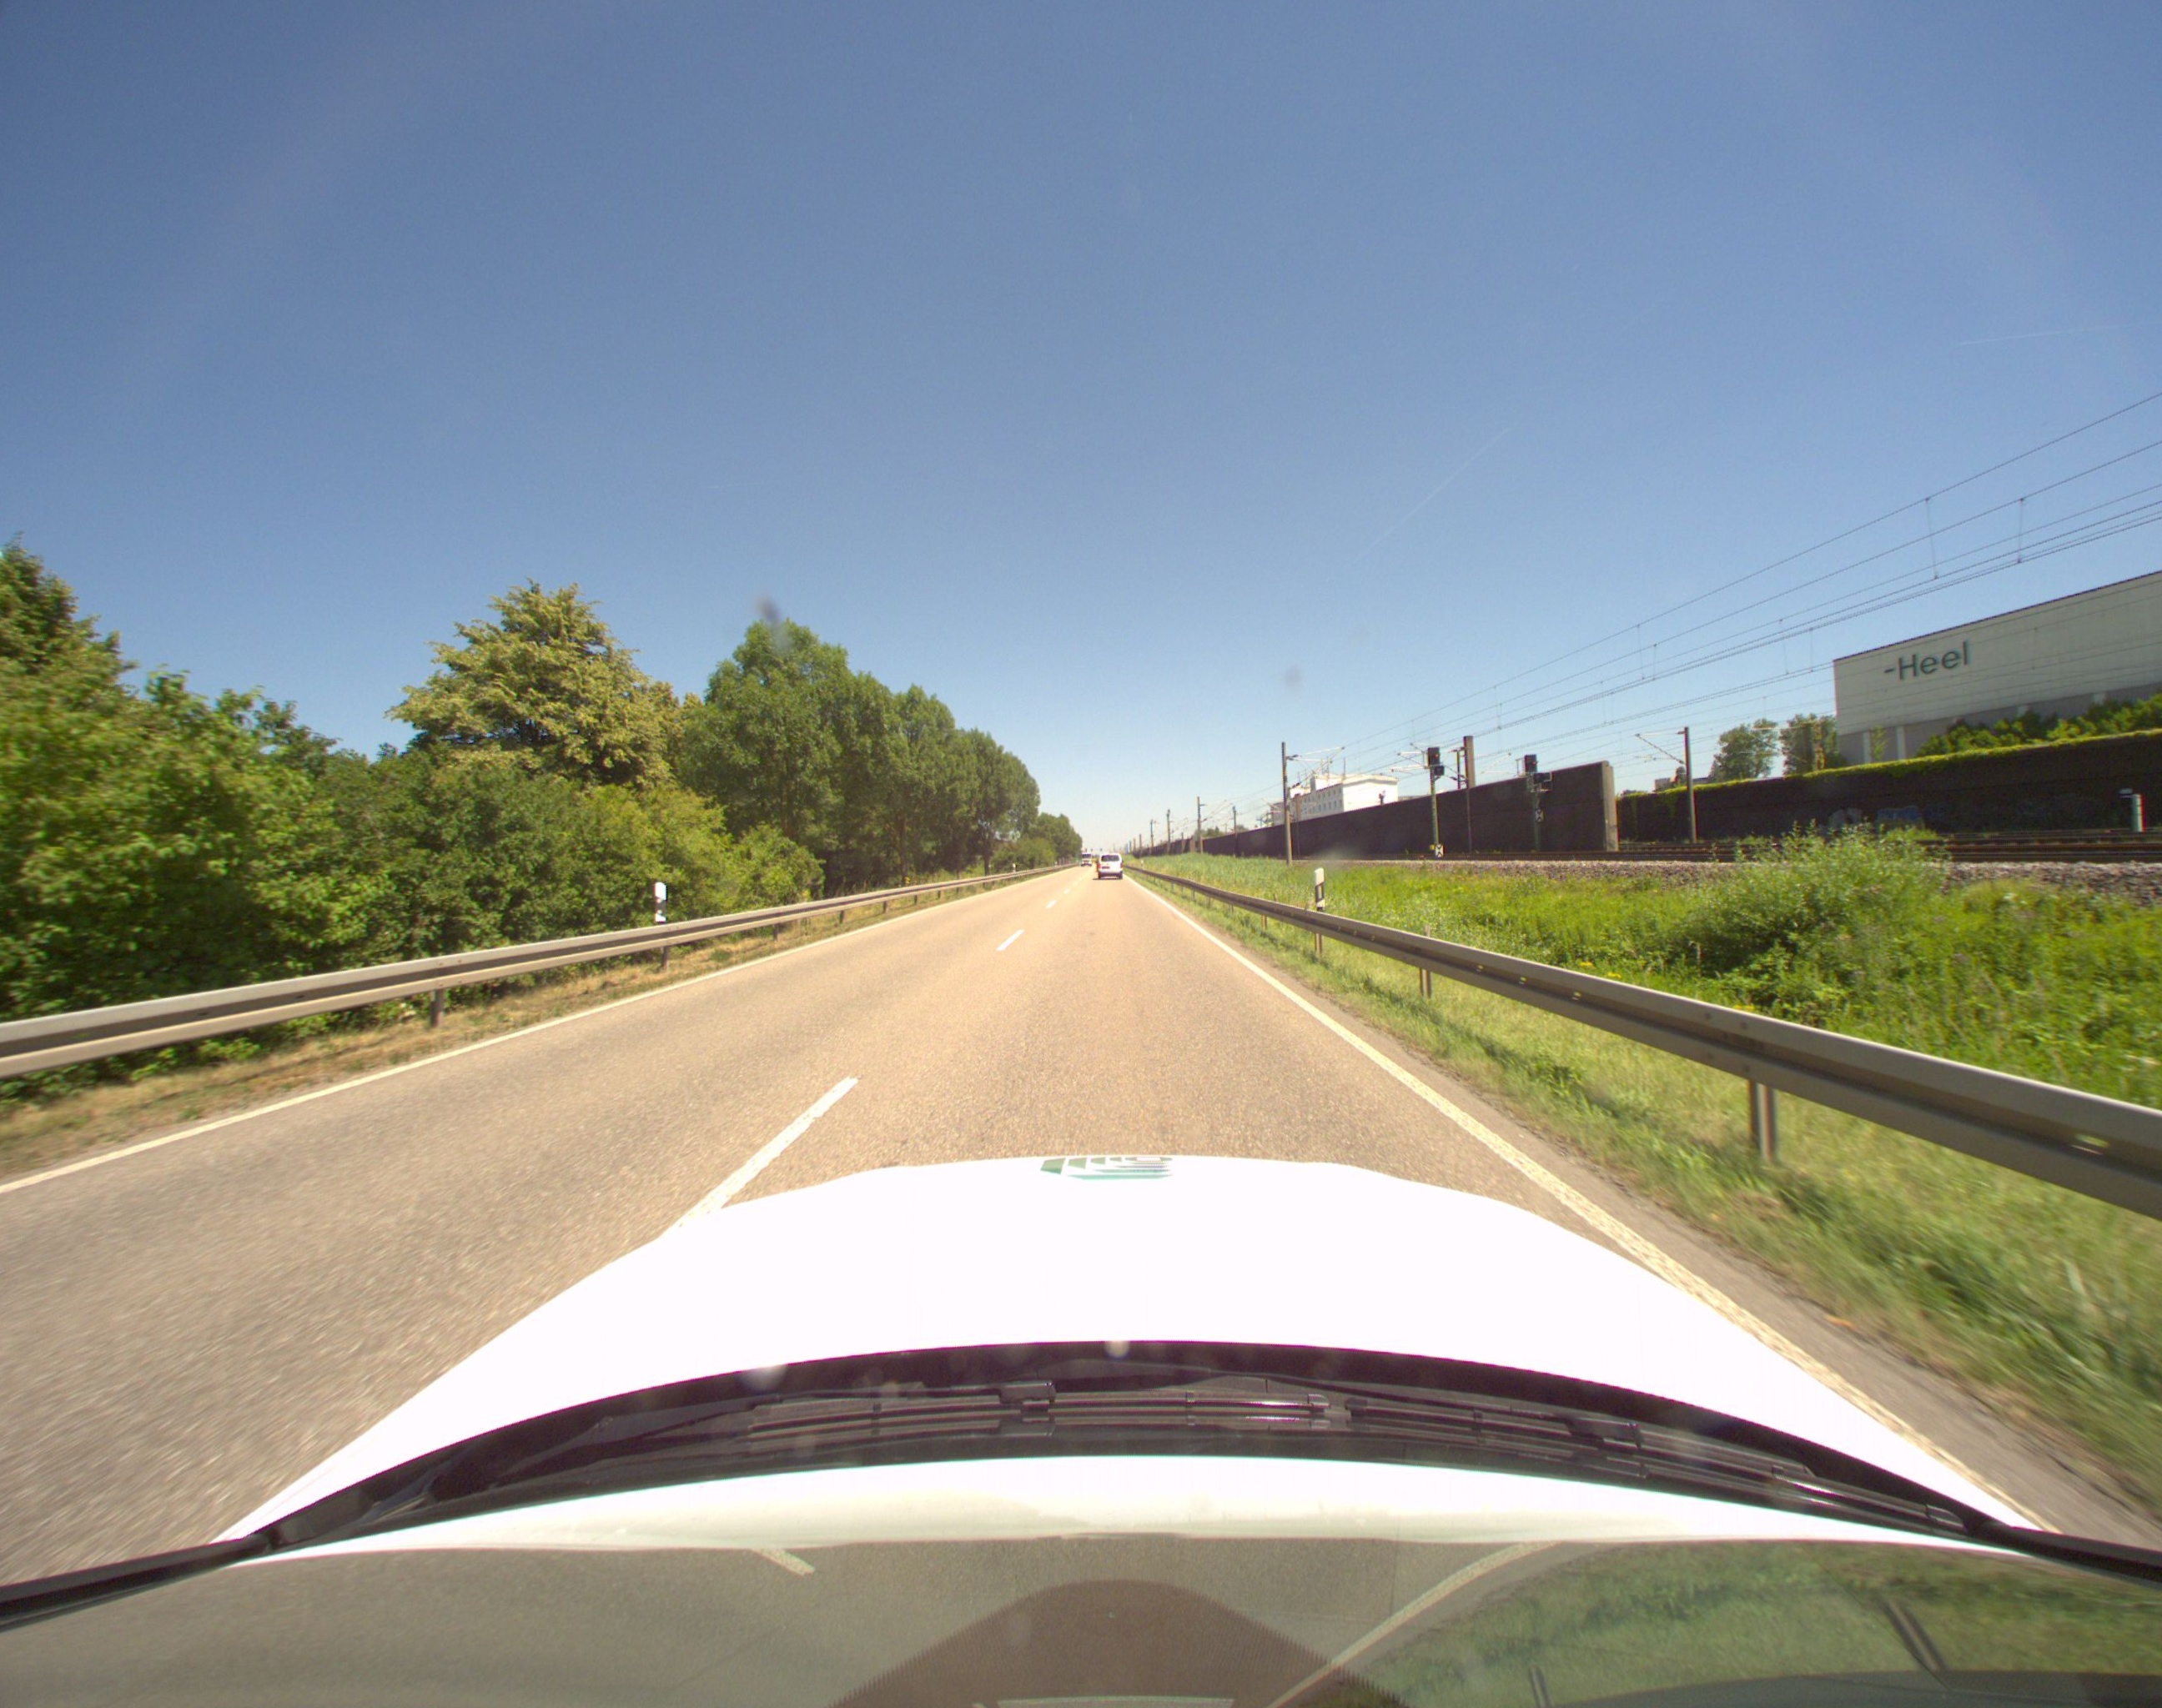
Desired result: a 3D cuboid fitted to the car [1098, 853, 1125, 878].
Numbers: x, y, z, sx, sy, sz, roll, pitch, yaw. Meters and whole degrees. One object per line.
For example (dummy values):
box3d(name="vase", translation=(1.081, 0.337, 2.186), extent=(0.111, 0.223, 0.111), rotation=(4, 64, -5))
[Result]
box3d(name="car", translation=(2.288, 0.878, 61.960), extent=(1.986, 1.850, 4.001), rotation=(0, 0, 1))

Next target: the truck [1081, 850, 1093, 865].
box3d(name="truck", translation=(1.373, 0.881, 190.499), extent=(2.774, 3.405, 7.990), rotation=(0, 0, 1))

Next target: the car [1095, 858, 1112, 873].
box3d(name="car", translation=(2.798, 1.415, 99.886), extent=(1.986, 1.850, 4.001), rotation=(0, 0, 1))
